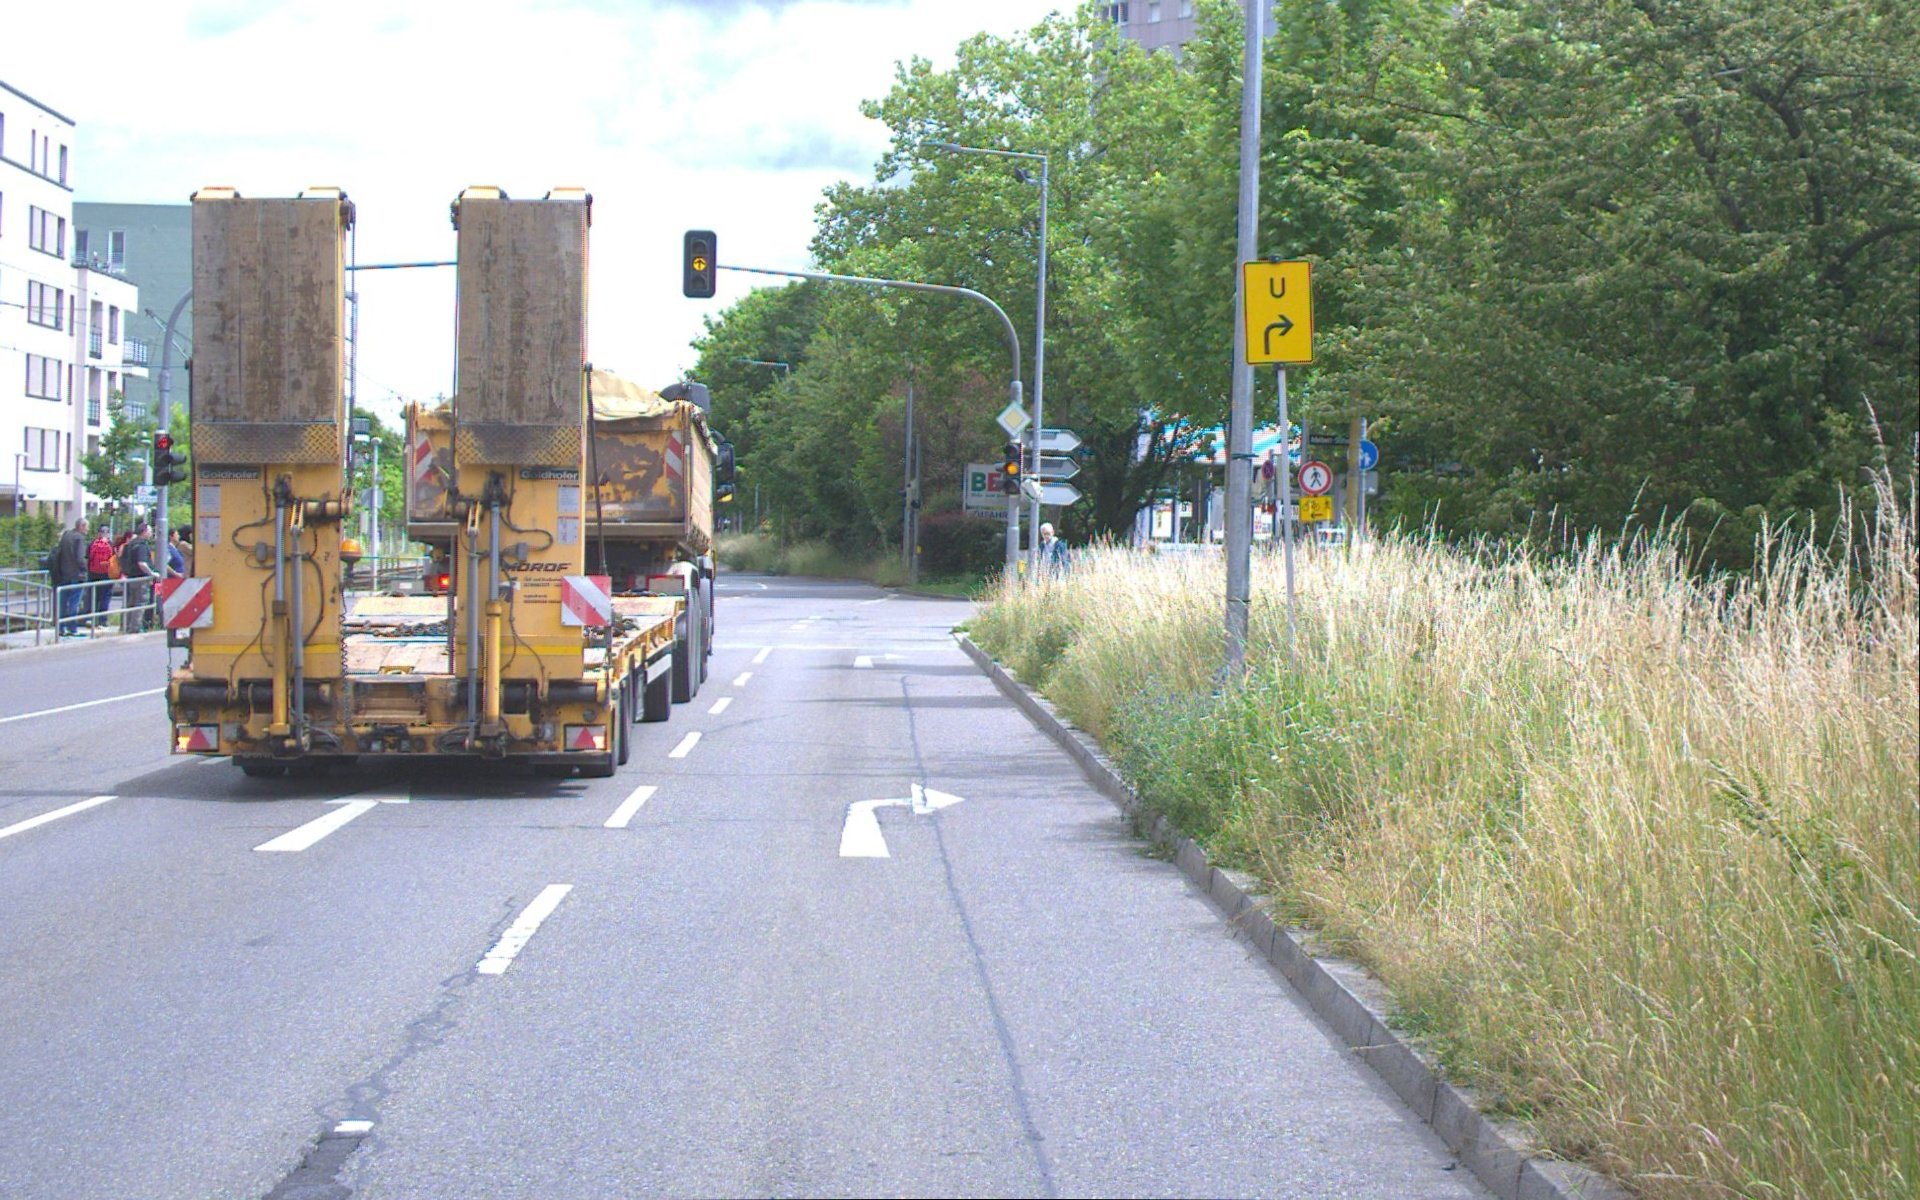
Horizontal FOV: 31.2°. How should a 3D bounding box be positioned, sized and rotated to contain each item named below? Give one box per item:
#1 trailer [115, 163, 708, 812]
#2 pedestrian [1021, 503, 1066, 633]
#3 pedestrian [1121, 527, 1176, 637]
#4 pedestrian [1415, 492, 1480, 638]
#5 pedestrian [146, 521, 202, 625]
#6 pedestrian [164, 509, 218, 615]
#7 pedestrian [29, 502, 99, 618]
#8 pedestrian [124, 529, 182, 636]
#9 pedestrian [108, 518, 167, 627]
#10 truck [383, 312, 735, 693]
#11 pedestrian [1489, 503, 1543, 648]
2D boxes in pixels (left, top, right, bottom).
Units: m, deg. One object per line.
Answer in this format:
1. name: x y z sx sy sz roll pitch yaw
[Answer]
1. trailer: -3.472 -0.755 24.806 2.729 3.546 11.255 2 1 -2
2. pedestrian: 1.299 -0.501 53.681 0.561 2.007 0.492 1 0 -11
3. pedestrian: 2.846 -0.270 51.898 0.628 1.647 0.562 2 0 25
4. pedestrian: 6.778 -0.485 47.780 0.671 2.007 0.635 1 0 -11
5. pedestrian: -12.316 -0.435 53.890 0.681 1.597 0.823 2 1 -2
6. pedestrian: -12.284 -0.619 54.943 0.681 1.664 0.823 2 1 -2
7. pedestrian: -13.057 -0.585 50.102 0.820 1.663 0.683 2 1 -1
8. pedestrian: -12.281 -0.275 52.322 0.681 1.597 0.823 2 1 -2
9. pedestrian: -12.267 -0.419 51.275 0.681 1.597 0.823 2 1 -2
10. truck: -3.821 -0.957 34.619 2.753 3.302 8.353 2 1 -2
11. pedestrian: 7.791 -0.345 48.158 0.561 2.007 0.492 1 0 -11
